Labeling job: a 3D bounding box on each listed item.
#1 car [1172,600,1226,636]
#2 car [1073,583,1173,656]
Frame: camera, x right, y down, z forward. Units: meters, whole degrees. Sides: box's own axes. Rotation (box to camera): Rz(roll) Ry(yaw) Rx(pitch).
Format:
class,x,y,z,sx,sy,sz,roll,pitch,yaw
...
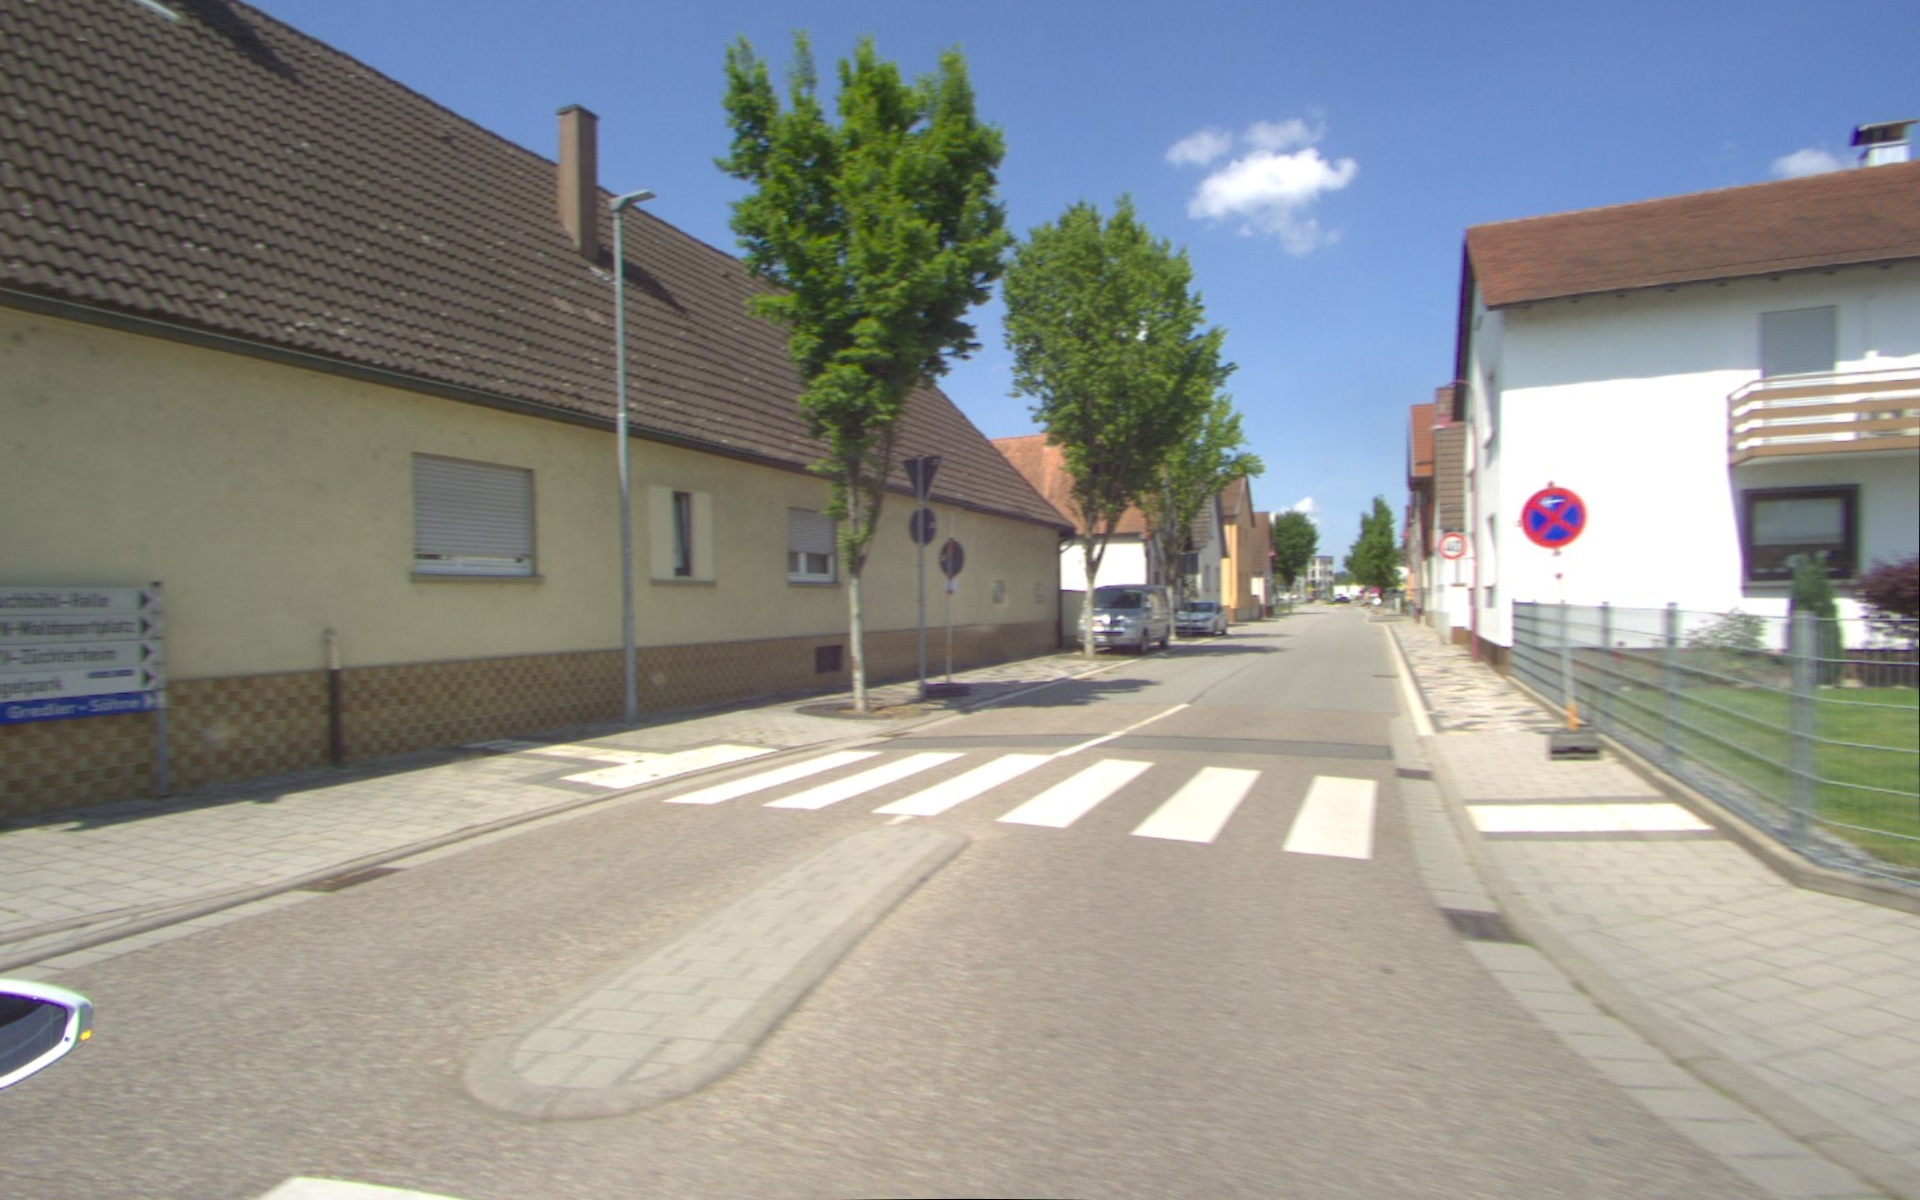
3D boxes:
class,x,y,z,sx,sy,sz,roll,pitch,yaw
car,9.925,0.692,41.354,1.658,1.400,3.550,0,0,22
car,4.862,0.503,29.353,1.966,1.964,4.466,1,0,22
